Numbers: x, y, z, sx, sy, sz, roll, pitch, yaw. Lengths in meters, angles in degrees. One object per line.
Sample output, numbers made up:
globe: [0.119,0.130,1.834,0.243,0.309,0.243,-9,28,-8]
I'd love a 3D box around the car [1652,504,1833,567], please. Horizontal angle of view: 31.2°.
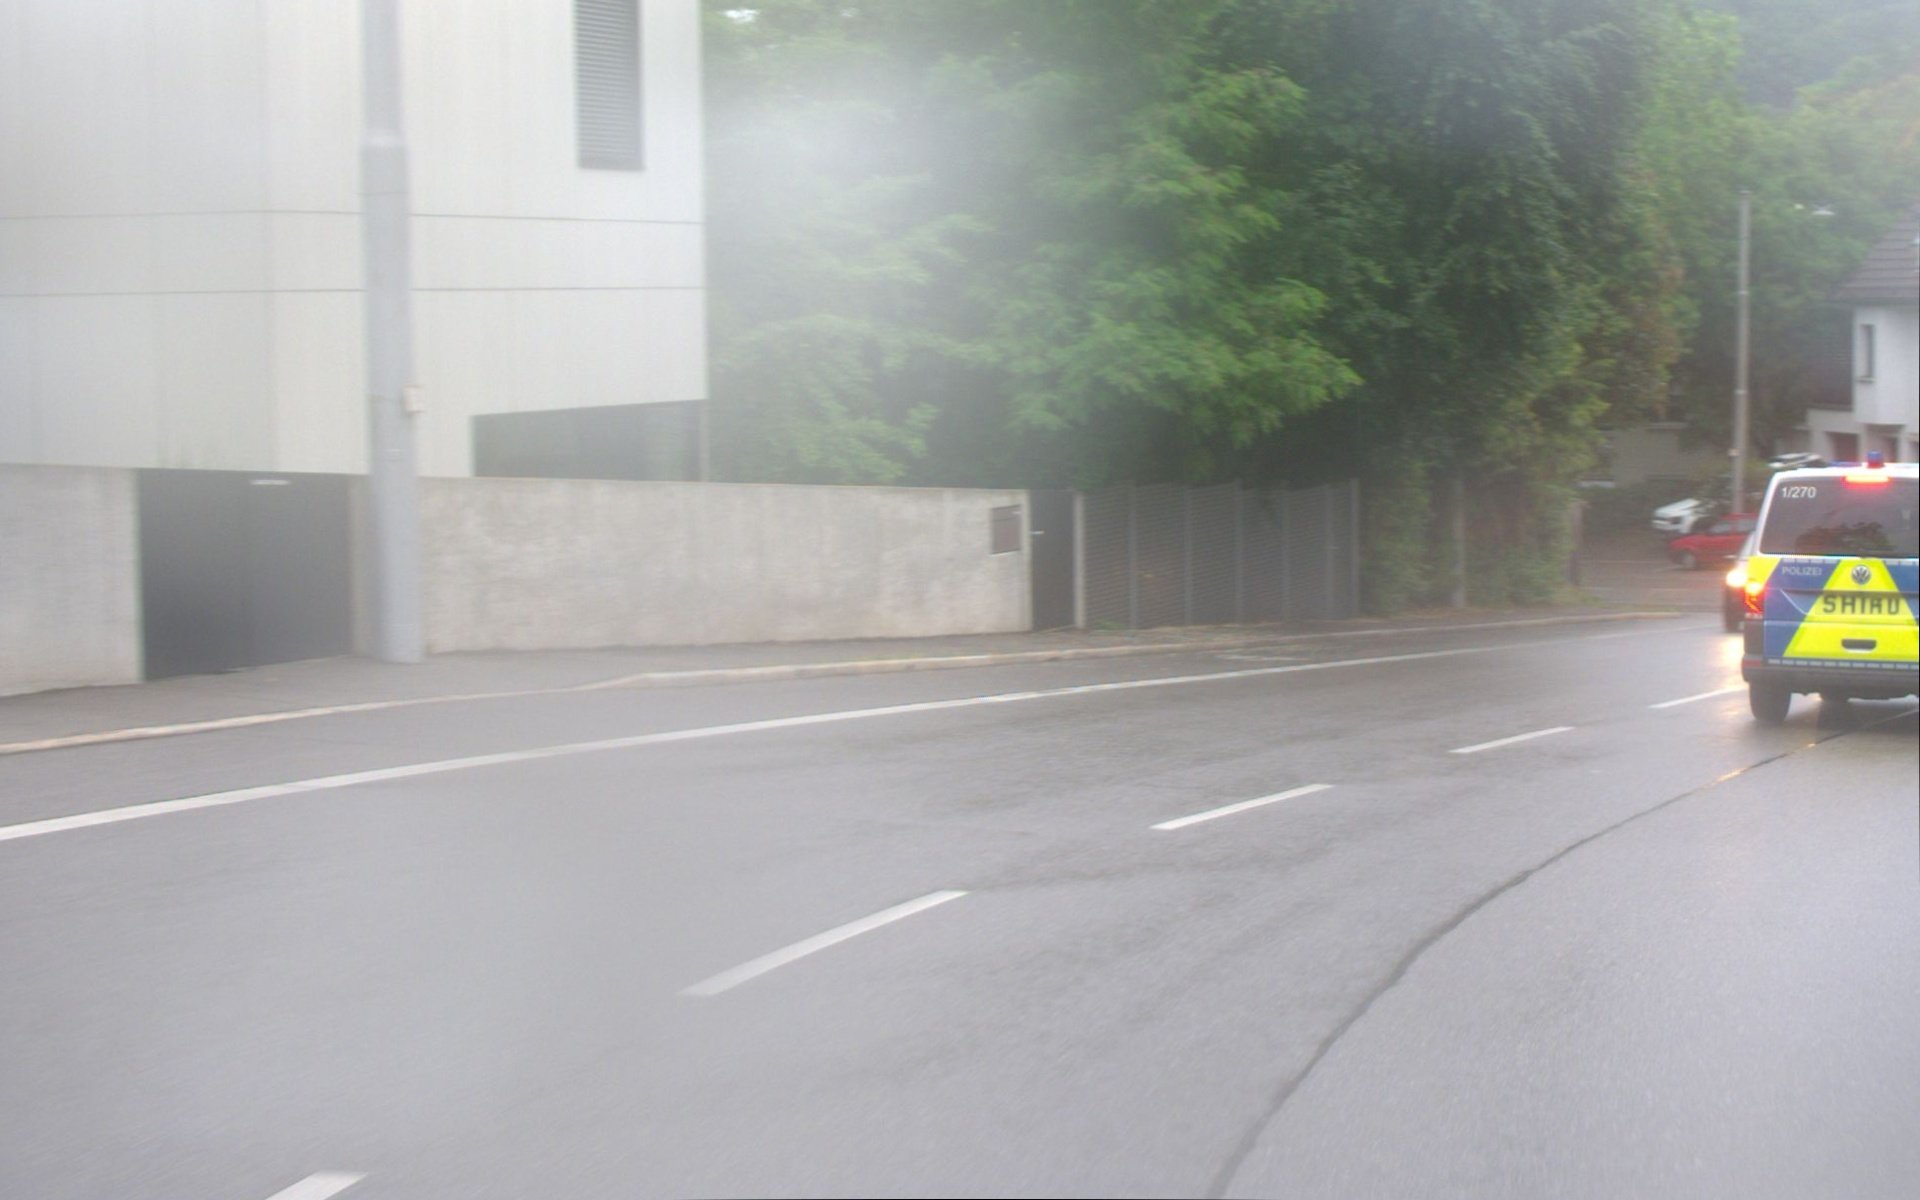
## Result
car: [19.339,-1.594,85.107,1.780,1.362,4.195,-5,2,-35]

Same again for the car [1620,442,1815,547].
car: [20.130,-2.821,91.438,4.396,1.836,2.001,-12,5,-5]

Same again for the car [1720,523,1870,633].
car: [12.096,-0.354,49.679,1.651,1.415,3.799,3,3,20]

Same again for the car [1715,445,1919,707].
car: [7.417,-0.184,26.954,1.996,1.887,4.564,-1,0,24]
